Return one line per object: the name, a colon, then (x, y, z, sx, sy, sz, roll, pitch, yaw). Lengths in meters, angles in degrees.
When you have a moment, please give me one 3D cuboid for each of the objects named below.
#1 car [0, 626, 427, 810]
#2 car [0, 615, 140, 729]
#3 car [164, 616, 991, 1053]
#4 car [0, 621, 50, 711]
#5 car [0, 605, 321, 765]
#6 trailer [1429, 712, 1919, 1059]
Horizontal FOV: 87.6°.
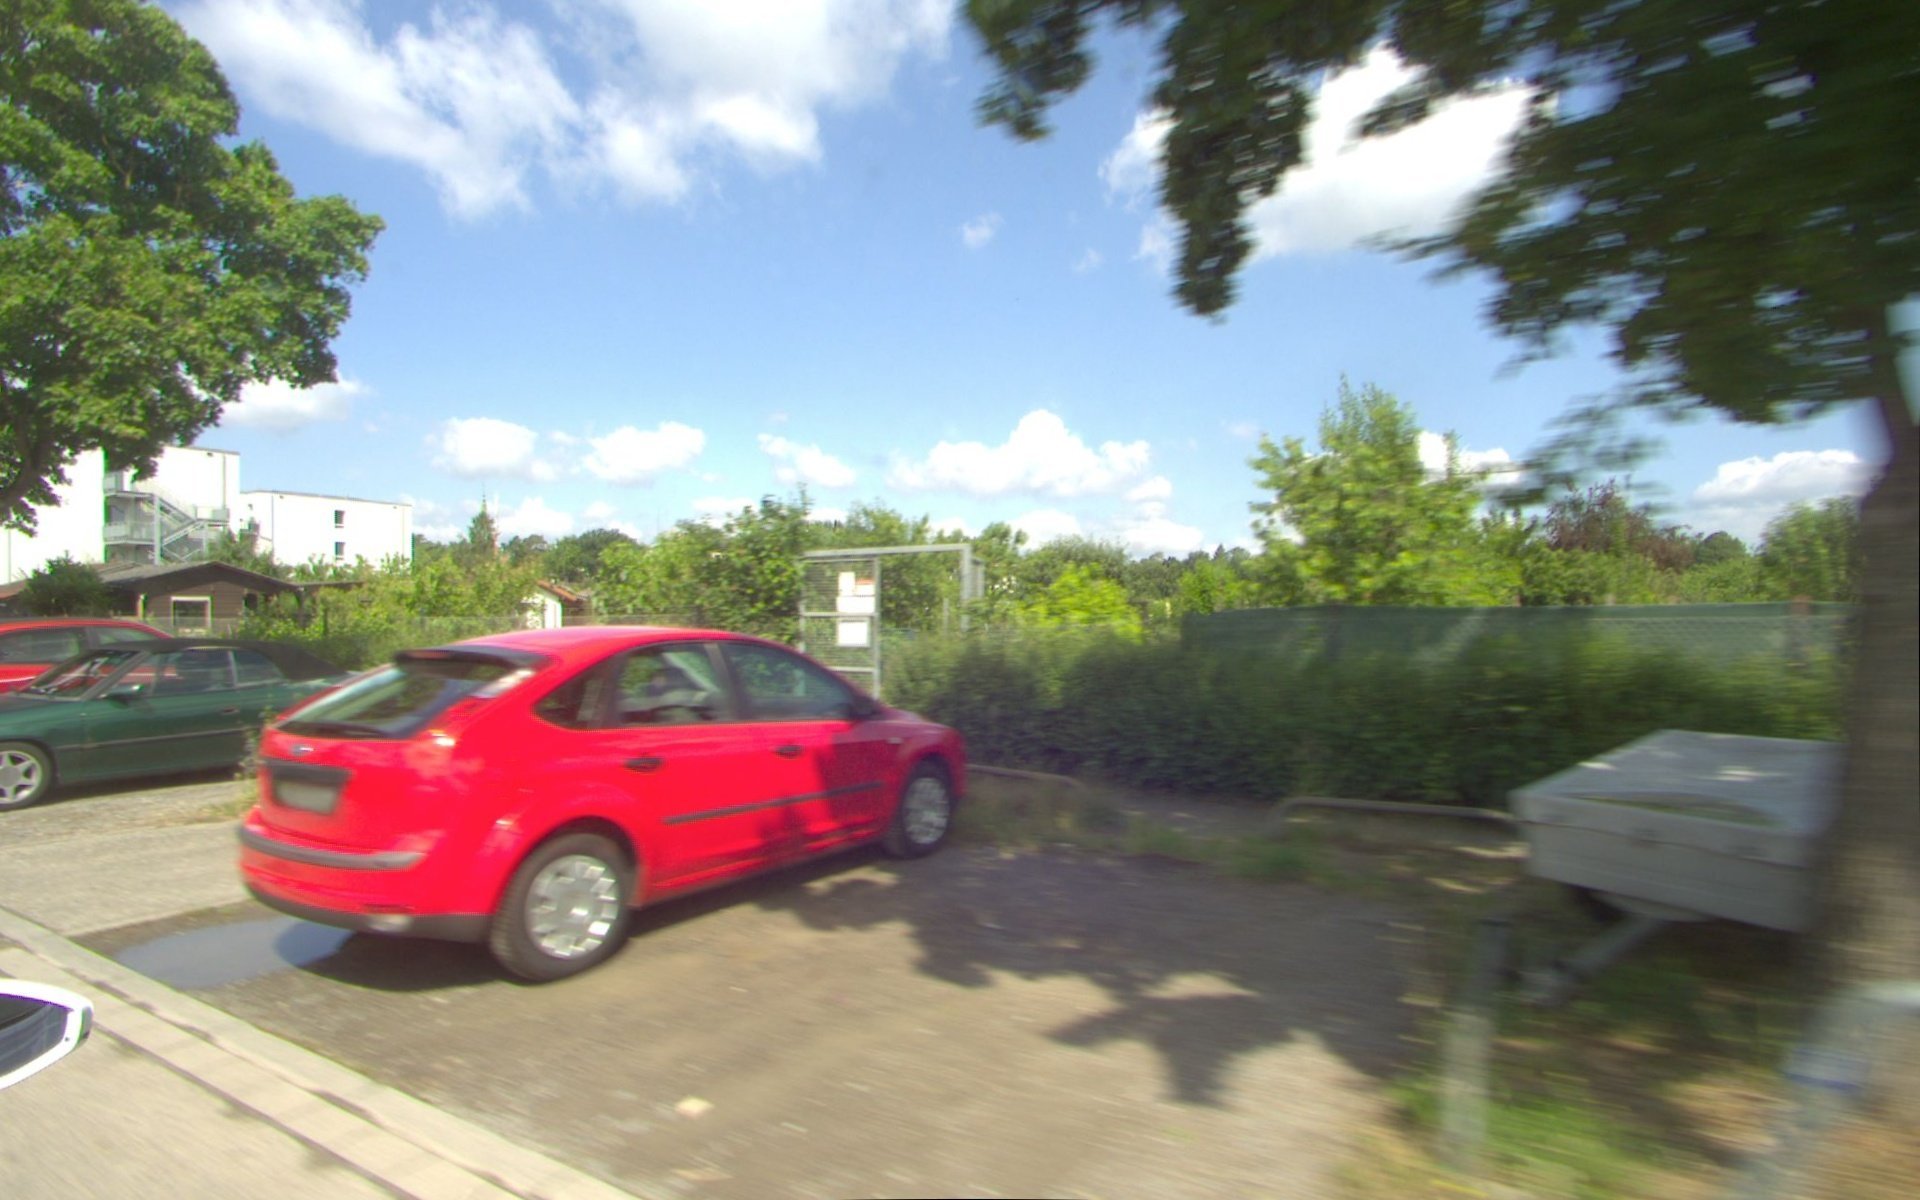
car: (-7.694, 0.995, 9.603, 1.879, 1.446, 4.237, 0, -2, 28)
car: (-13.934, 0.964, 13.612, 1.830, 1.539, 3.977, -1, -3, 35)
car: (-1.689, 0.913, 5.778, 1.852, 1.523, 4.176, -1, -3, 33)
car: (-16.882, 1.013, 15.433, 1.931, 1.441, 3.901, -1, -3, 35)
car: (-9.749, 0.902, 11.380, 1.842, 1.593, 3.759, -1, -2, 32)
trailer: (3.876, 1.105, 4.751, 3.023, 0.888, 1.552, 1, -1, -30)
